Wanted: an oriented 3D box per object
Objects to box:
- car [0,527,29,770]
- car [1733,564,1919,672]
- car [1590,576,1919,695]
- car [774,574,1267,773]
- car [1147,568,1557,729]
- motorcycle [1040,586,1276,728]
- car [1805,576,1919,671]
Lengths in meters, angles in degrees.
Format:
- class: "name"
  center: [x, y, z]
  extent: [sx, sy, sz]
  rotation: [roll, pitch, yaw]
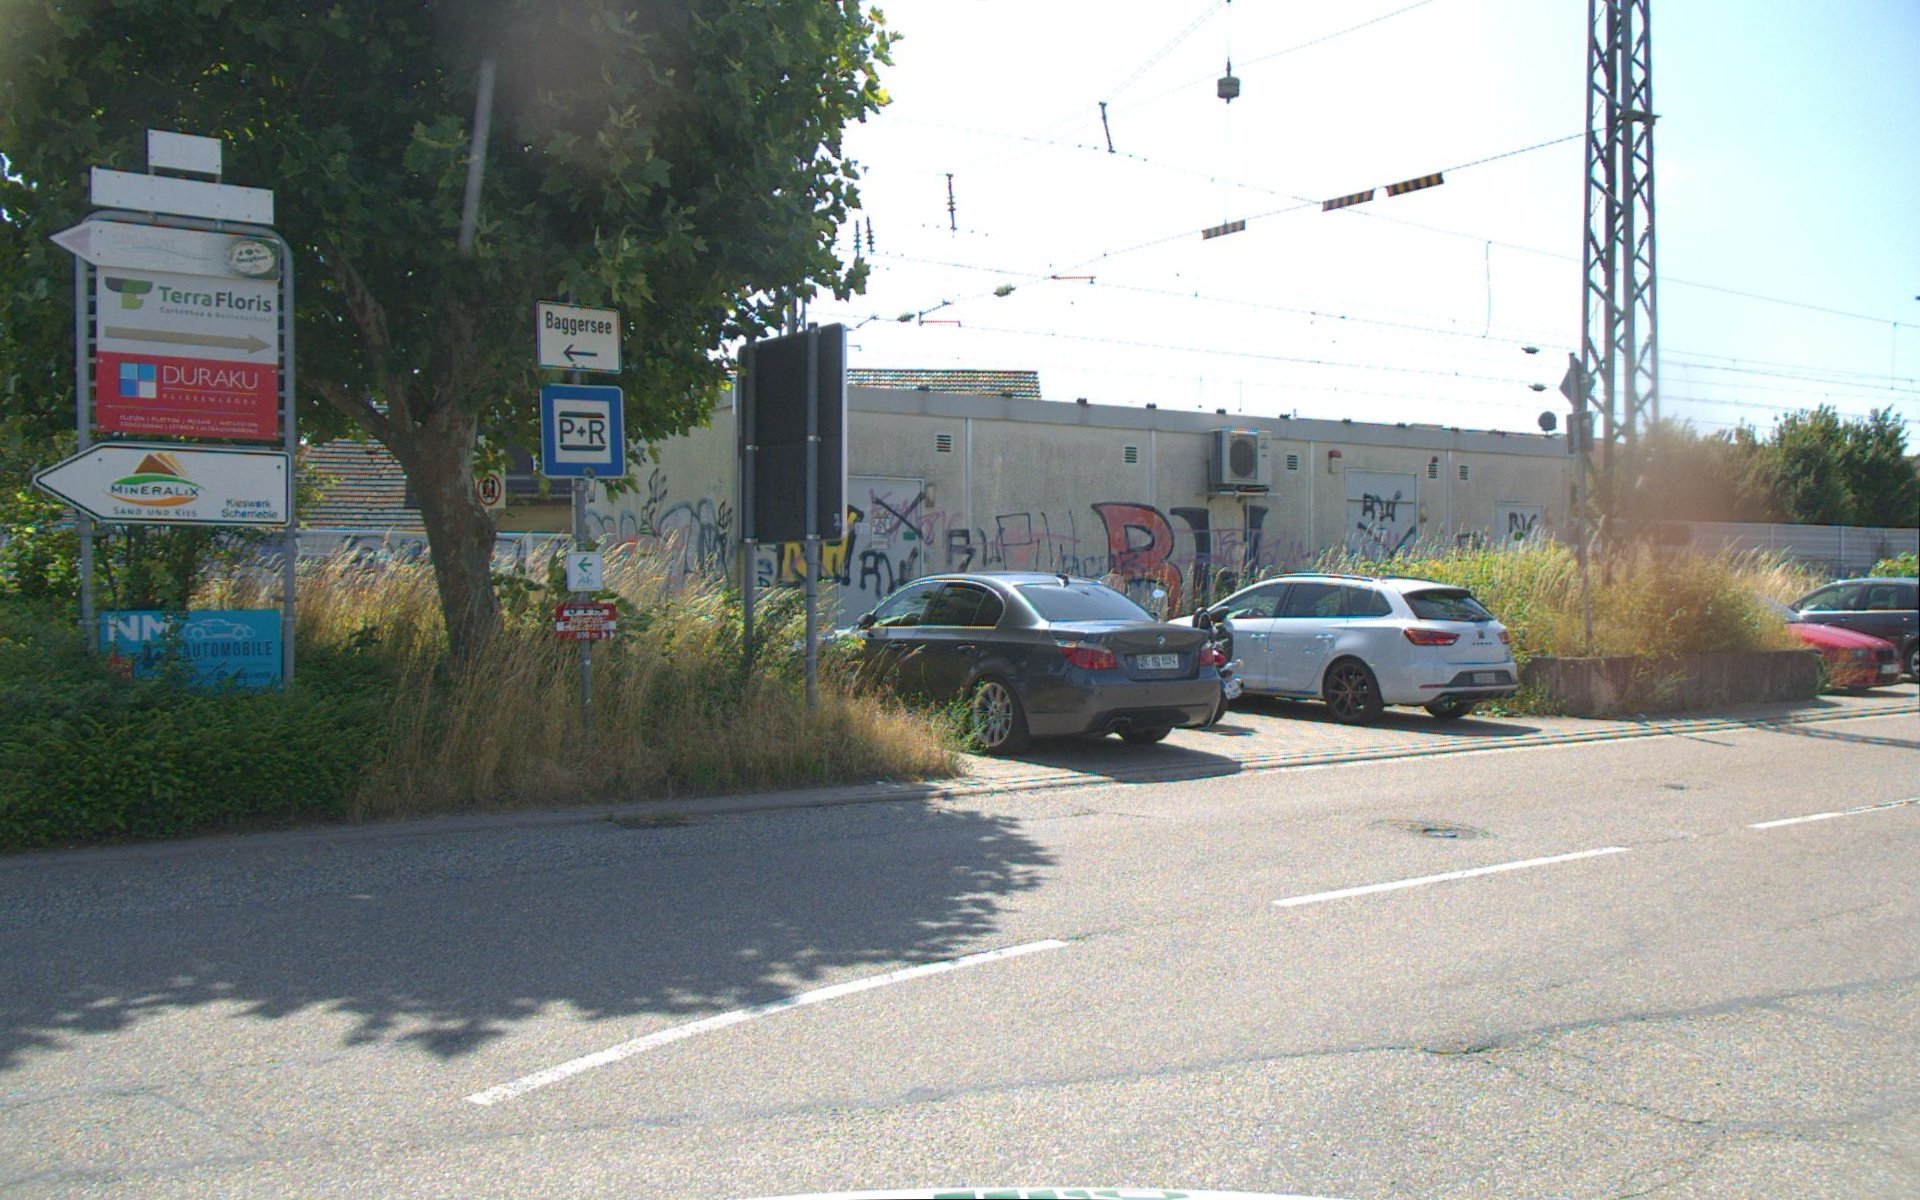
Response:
- class: "car"
  center: [-8.027, 0.319, 10.622]
  extent: [3.528, 1.563, 1.779]
  rotation: [0, 0, -30]
- class: "car"
  center: [13.823, 0.248, 24.854]
  extent: [1.666, 1.473, 3.630]
  rotation: [-1, 3, -37]
- class: "car"
  center: [10.967, 0.411, 22.860]
  extent: [1.654, 1.392, 4.037]
  rotation: [-2, 3, -35]
- class: "car"
  center: [0.362, 0.511, 14.206]
  extent: [1.772, 1.435, 4.375]
  rotation: [0, 1, -41]
- class: "car"
  center: [4.016, 0.412, 17.506]
  extent: [1.768, 1.426, 4.033]
  rotation: [0, 2, -37]
- class: "motorcycle"
  center: [1.911, 0.509, 16.481]
  extent: [0.710, 1.303, 2.698]
  rotation: [0, 1, -36]
- class: "car"
  center: [15.765, 0.368, 26.227]
  extent: [1.763, 1.475, 3.917]
  rotation: [0, 1, -31]
